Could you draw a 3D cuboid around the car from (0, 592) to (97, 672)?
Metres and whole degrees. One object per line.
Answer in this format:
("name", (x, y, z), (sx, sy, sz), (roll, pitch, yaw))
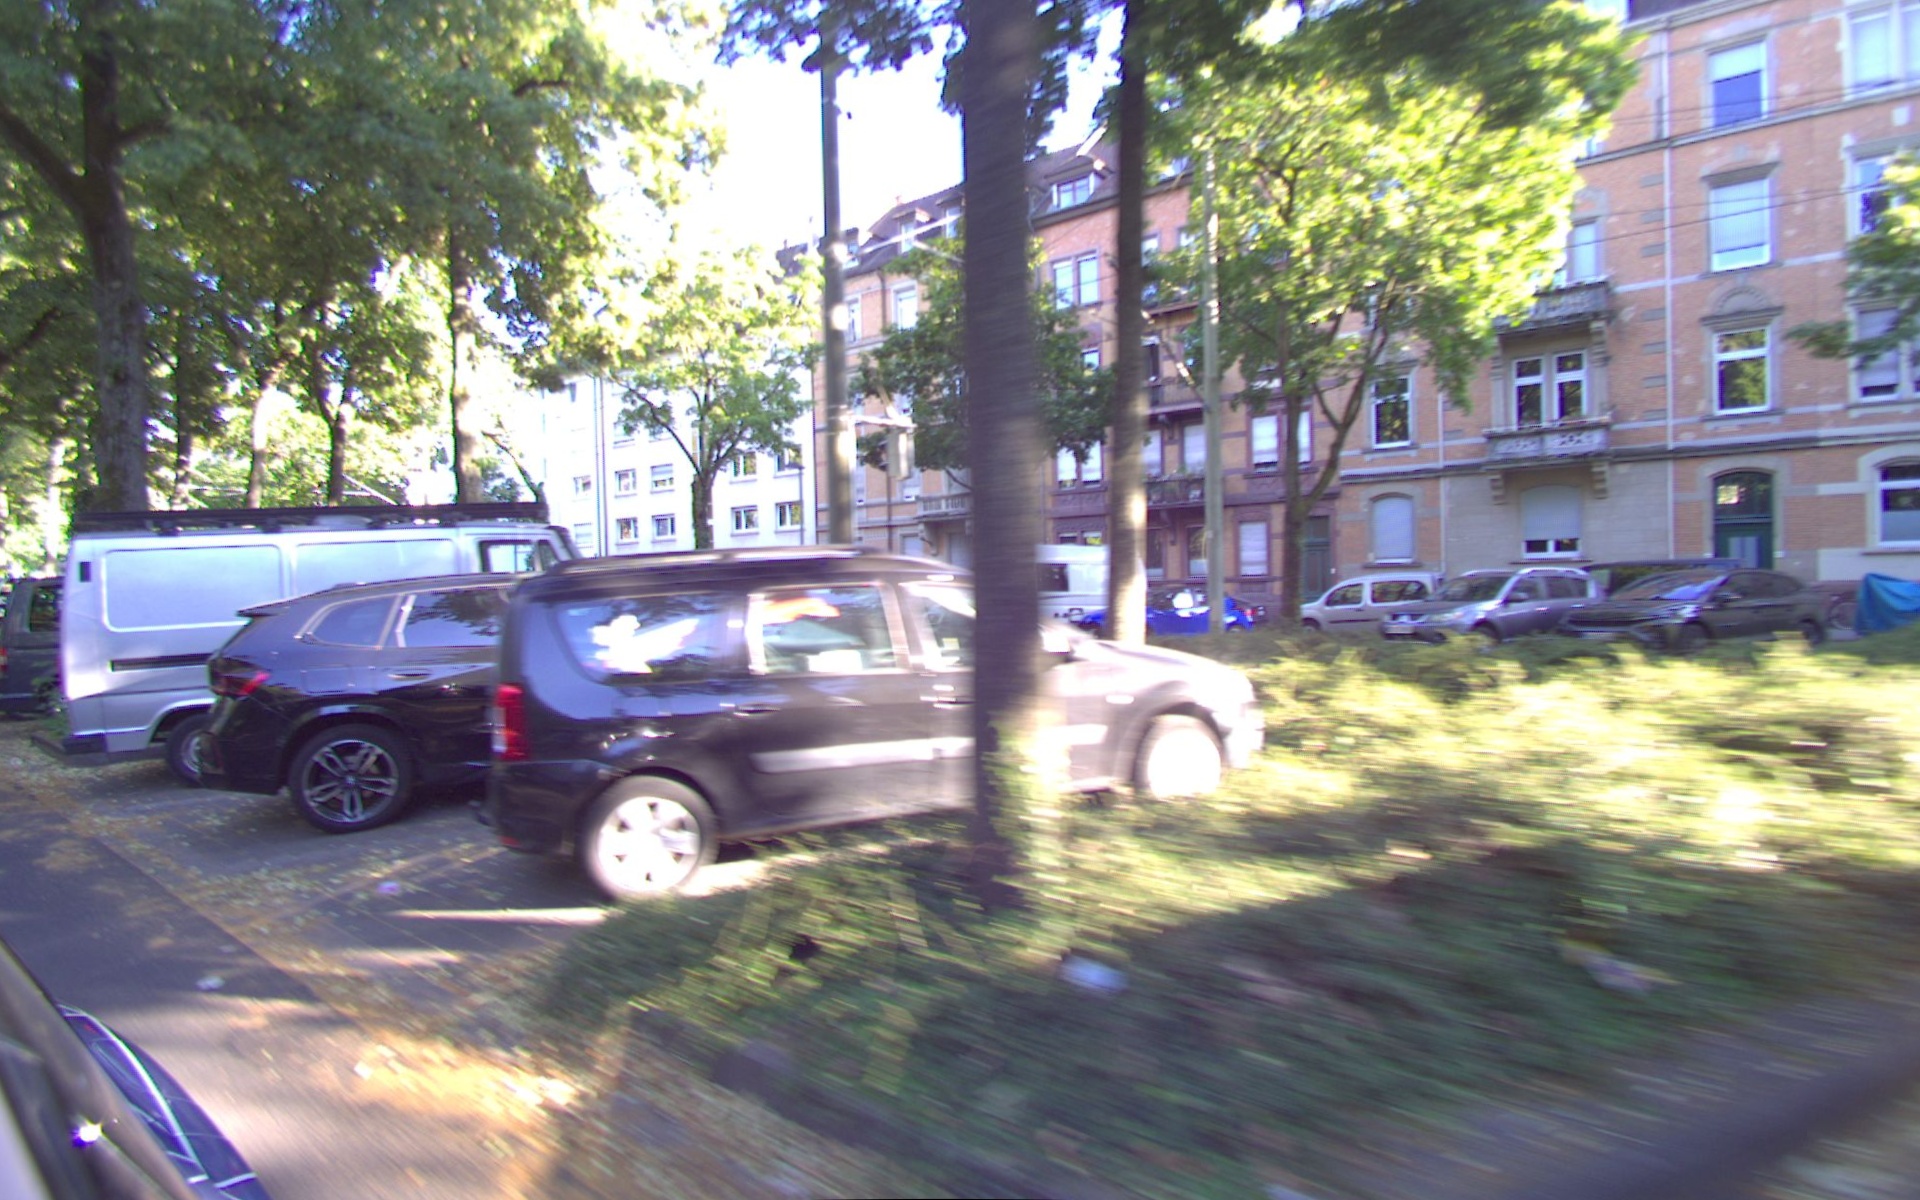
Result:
("car", (-26.327, 0.931, 26.777), (4.802, 1.992, 2.052), (-4, 3, -22))

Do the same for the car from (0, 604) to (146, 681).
("car", (-21.099, 0.983, 23.069), (3.490, 1.504, 1.832), (-4, 3, -22))

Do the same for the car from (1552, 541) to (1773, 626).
("car", (16.091, -0.295, 23.324), (4.018, 1.796, 1.833), (-1, -2, 37))

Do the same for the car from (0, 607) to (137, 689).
("car", (-19.700, 1.032, 20.851), (3.760, 1.449, 1.831), (-4, 3, -17))

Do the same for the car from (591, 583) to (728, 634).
("car", (-9.982, 0.277, 33.639), (4.250, 1.594, 1.912), (-1, -1, -18))

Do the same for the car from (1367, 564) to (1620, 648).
("car", (9.353, 0.072, 17.746), (4.116, 1.320, 1.641), (-1, 0, -22))

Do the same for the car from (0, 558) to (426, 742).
("car", (-9.966, 0.553, 13.516), (4.633, 1.957, 1.941), (-4, 3, -18))

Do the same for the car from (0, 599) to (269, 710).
("car", (-14.313, 0.882, 17.038), (4.024, 1.499, 1.790), (-4, 3, -20))

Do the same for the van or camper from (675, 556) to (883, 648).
("van or camper", (-5.232, 0.048, 29.427), (5.579, 2.487, 2.006), (-1, -1, -27))

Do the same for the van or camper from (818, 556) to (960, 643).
("van or camper", (-2.786, 0.057, 38.935), (5.506, 3.133, 2.055), (-1, -2, 38))

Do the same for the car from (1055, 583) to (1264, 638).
("car", (4.322, 0.235, 21.939), (4.095, 1.106, 1.833), (0, -1, -23))

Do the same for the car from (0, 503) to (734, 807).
("car", (-5.129, 0.309, 9.687), (5.420, 2.152, 2.088), (-4, 3, -21))

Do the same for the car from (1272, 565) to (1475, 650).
("car", (10.962, 0.232, 26.995), (4.653, 2.019, 1.834), (-2, 2, 37))

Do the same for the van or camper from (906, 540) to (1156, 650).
("van or camper", (1.703, -0.124, 24.117), (5.455, 2.389, 2.315), (-1, -1, -24))

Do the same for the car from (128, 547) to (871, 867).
("car", (-3.140, 0.551, 7.648), (4.442, 1.628, 1.941), (-5, 3, -27))

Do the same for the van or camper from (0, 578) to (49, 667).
("van or camper", (-29.202, 0.757, 28.451), (4.802, 2.488, 2.052), (-4, 3, -24))

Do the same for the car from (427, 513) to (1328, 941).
("car", (-0.374, 0.455, 5.830), (4.442, 1.628, 1.860), (-4, 3, -19))

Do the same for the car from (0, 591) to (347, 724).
("car", (-12.099, 0.802, 15.255), (4.494, 1.552, 1.941), (-4, 3, -18))

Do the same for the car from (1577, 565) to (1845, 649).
("car", (11.903, 0.077, 16.018), (4.131, 1.176, 1.504), (-1, 0, -23))

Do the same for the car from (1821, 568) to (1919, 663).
("car", (19.700, 0.270, 20.319), (3.502, 1.796, 1.834), (-2, 2, 37))
